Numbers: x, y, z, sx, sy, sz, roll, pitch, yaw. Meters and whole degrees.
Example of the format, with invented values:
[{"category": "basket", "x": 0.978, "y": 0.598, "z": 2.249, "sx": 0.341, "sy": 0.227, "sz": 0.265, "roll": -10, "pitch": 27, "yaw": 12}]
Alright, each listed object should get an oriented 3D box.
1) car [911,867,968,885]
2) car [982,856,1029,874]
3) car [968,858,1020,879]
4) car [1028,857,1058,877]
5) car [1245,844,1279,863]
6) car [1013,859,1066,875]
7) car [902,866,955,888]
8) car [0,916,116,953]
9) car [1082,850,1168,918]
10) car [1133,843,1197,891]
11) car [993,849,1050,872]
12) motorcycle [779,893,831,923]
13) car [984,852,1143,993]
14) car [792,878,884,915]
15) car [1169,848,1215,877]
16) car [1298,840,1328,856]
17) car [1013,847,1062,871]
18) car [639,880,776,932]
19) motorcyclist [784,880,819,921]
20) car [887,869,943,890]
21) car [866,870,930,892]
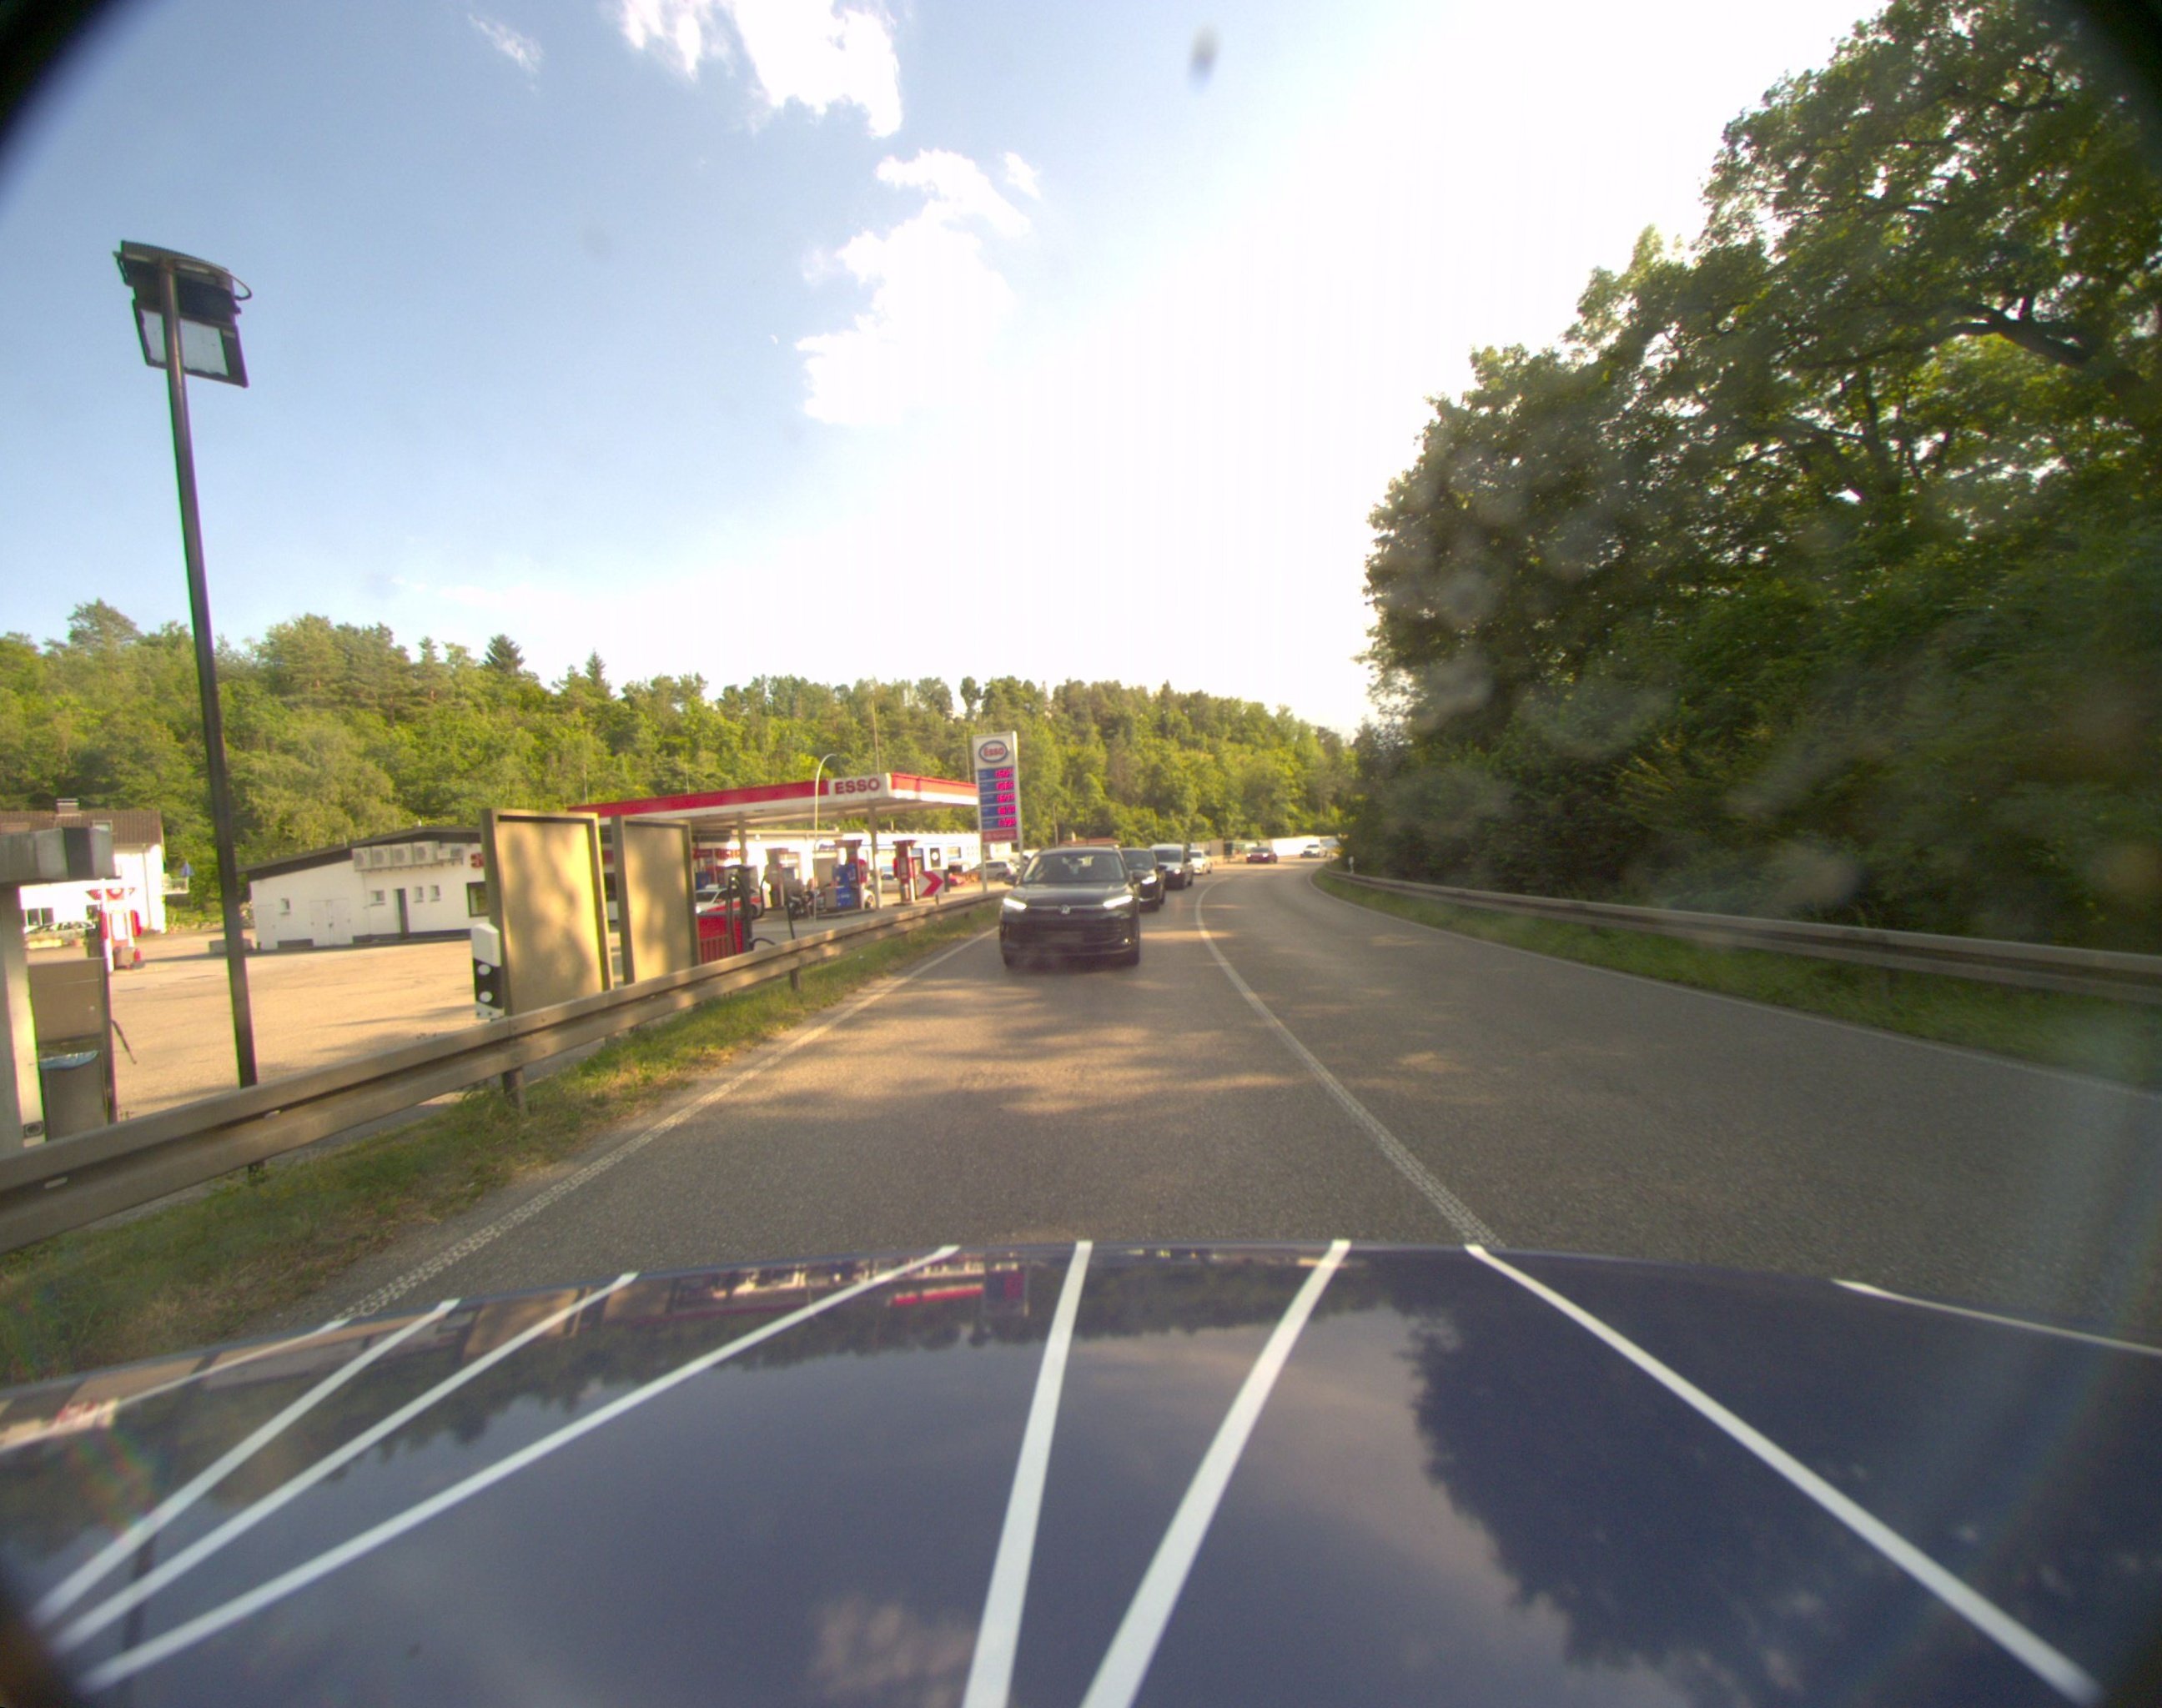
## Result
[{"category": "car", "x": -11.272, "y": 1.769, "z": 60.573, "sx": 4.072, "sy": 1.340, "sz": 1.897, "roll": -1, "pitch": 1, "yaw": 15}, {"category": "car", "x": -7.543, "y": 1.134, "z": 76.474, "sx": 4.246, "sy": 1.601, "sz": 1.897, "roll": -2, "pitch": 1, "yaw": 15}, {"category": "car", "x": -7.759, "y": 1.295, "z": 67.907, "sx": 4.254, "sy": 1.719, "sz": 1.893, "roll": -1, "pitch": 1, "yaw": 12}, {"category": "car", "x": -3.353, "y": 1.167, "z": 68.497, "sx": 1.793, "sy": 1.587, "sz": 3.992, "roll": -1, "pitch": 1, "yaw": 11}, {"category": "car", "x": 15.574, "y": -0.084, "z": 65.097, "sx": 1.856, "sy": 1.412, "sz": 4.426, "roll": -2, "pitch": 1, "yaw": 26}, {"category": "car", "x": -4.005, "y": 1.215, "z": 73.524, "sx": 4.727, "sy": 1.426, "sz": 1.959, "roll": -1, "pitch": 1, "yaw": 13}, {"category": "car", "x": -11.737, "y": 1.763, "z": 58.492, "sx": 3.549, "sy": 1.437, "sz": 1.735, "roll": -3, "pitch": 1, "yaw": 15}, {"category": "car", "x": -65.129, "y": 5.067, "z": 47.841, "sx": 2.694, "sy": 1.826, "sz": 5.175, "roll": -4, "pitch": 0, "yaw": 41}, {"category": "car", "x": 1.307, "y": 0.720, "z": 20.485, "sx": 1.847, "sy": 1.560, "sz": 4.260, "roll": -2, "pitch": 0, "yaw": 9}, {"category": "car", "x": 3.511, "y": 0.477, "z": 30.985, "sx": 1.865, "sy": 1.711, "sz": 4.767, "roll": -1, "pitch": 1, "yaw": 15}, {"category": "car", "x": -6.329, "y": 0.715, "z": 81.080, "sx": 5.481, "sy": 2.261, "sz": 2.297, "roll": -1, "pitch": 1, "yaw": 15}, {"category": "motorcycle", "x": -11.283, "y": 2.191, "z": 31.199, "sx": 0.763, "sy": 1.006, "sz": 2.343, "roll": -3, "pitch": 0, "yaw": 14}, {"category": "car", "x": -0.048, "y": 0.823, "z": 11.387, "sx": 1.859, "sy": 1.630, "sz": 4.442, "roll": -2, "pitch": 0, "yaw": 4}, {"category": "car", "x": -11.006, "y": 1.916, "z": 34.740, "sx": 1.845, "sy": 1.311, "sz": 4.394, "roll": -3, "pitch": 0, "yaw": 15}, {"category": "car", "x": 6.628, "y": 0.446, "z": 44.936, "sx": 1.894, "sy": 1.437, "sz": 4.481, "roll": -4, "pitch": 0, "yaw": 18}, {"category": "car", "x": 24.578, "y": -0.653, "z": 80.440, "sx": 1.912, "sy": 1.457, "sz": 4.544, "roll": -4, "pitch": 0, "yaw": 30}, {"category": "car", "x": -4.863, "y": 0.551, "z": 84.640, "sx": 4.915, "sy": 2.435, "sz": 2.209, "roll": -1, "pitch": 1, "yaw": 13}, {"category": "car", "x": -15.097, "y": 2.052, "z": 31.089, "sx": 2.095, "sy": 1.618, "sz": 5.185, "roll": -3, "pitch": 0, "yaw": 14}, {"category": "motorcyclist", "x": -11.368, "y": 1.891, "z": 30.963, "sx": 0.859, "sy": 1.595, "sz": 0.928, "roll": -3, "pitch": 1, "yaw": 14}, {"category": "car", "x": -12.293, "y": 1.884, "z": 56.335, "sx": 3.555, "sy": 1.398, "sz": 1.692, "roll": -3, "pitch": 1, "yaw": 15}, {"category": "car", "x": -12.930, "y": 1.928, "z": 53.845, "sx": 3.963, "sy": 1.347, "sz": 1.778, "roll": -2, "pitch": 1, "yaw": 11}]
